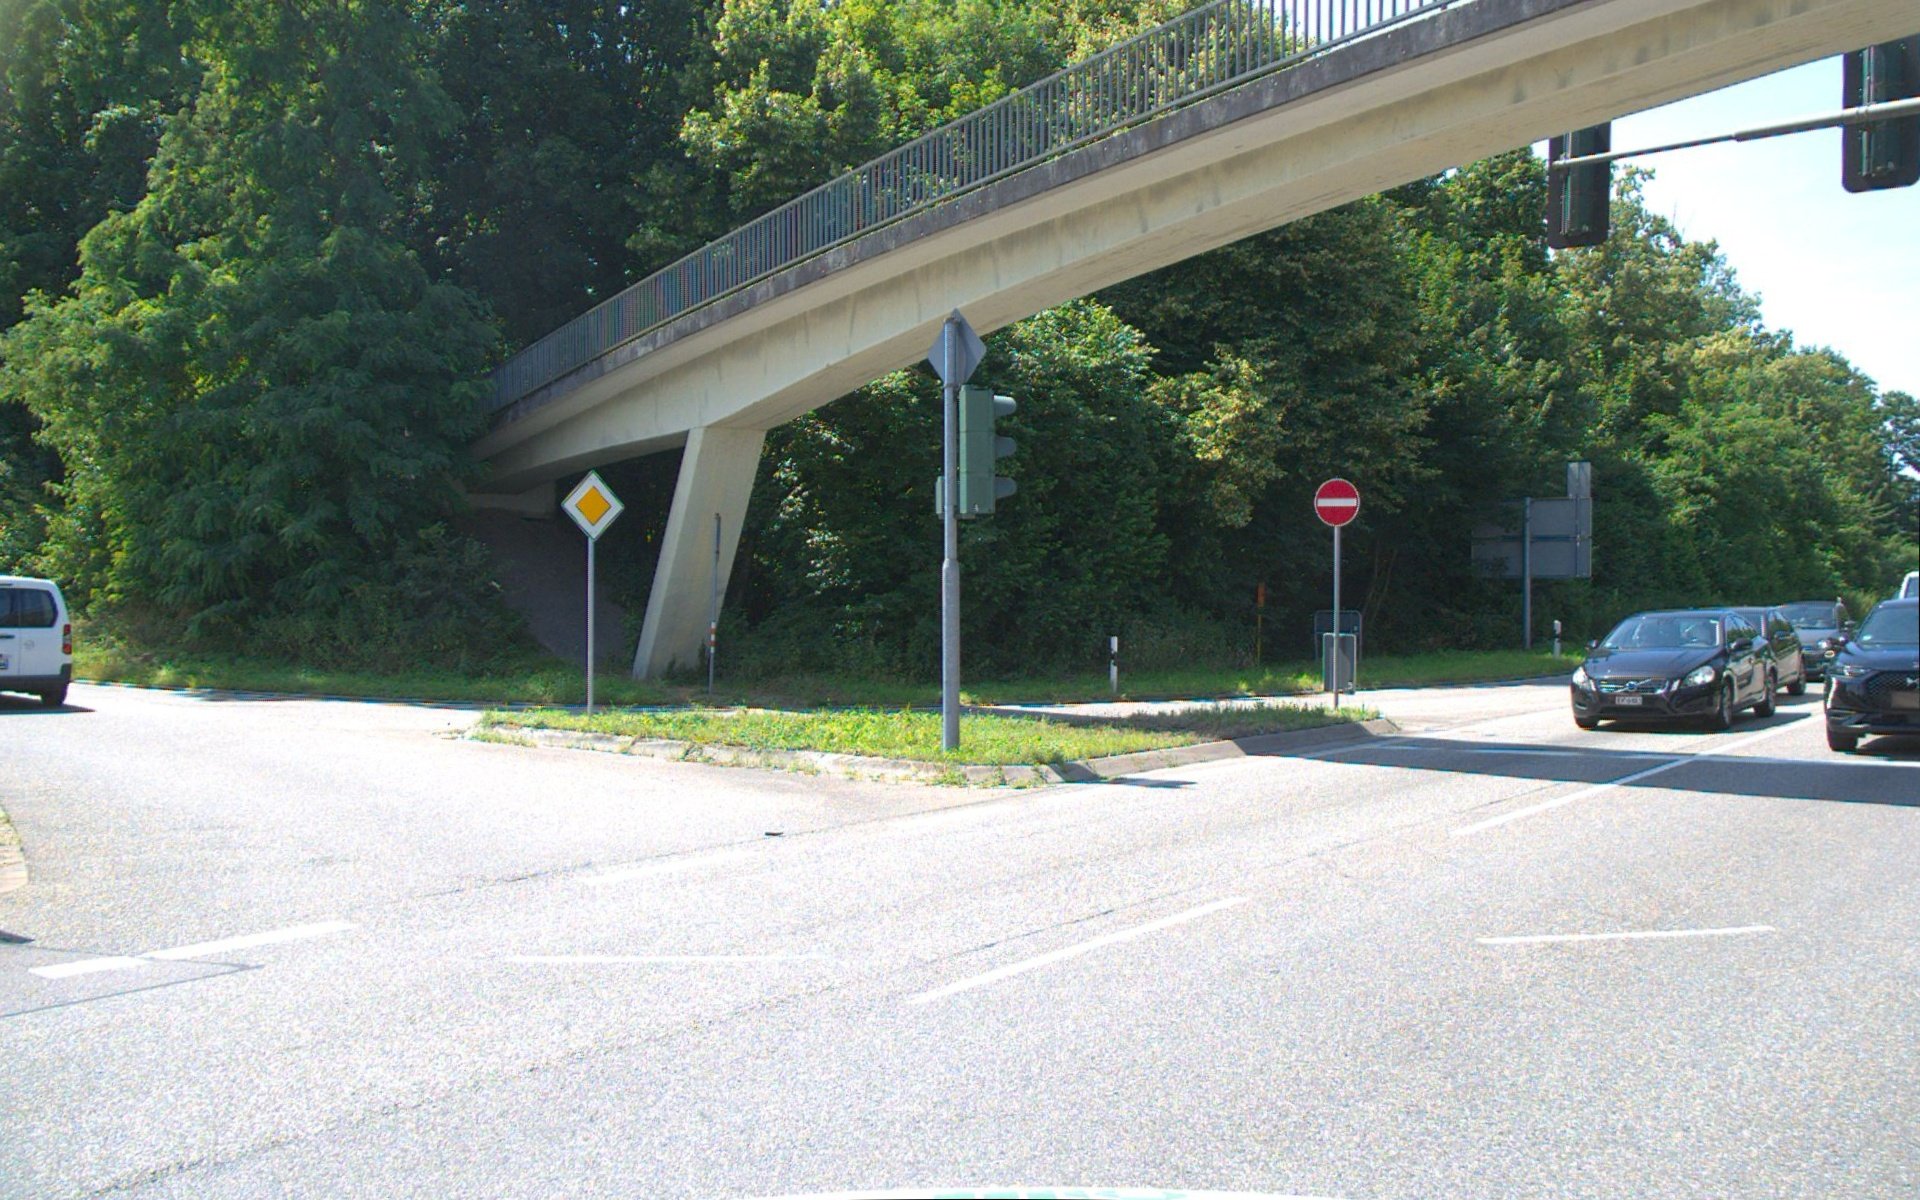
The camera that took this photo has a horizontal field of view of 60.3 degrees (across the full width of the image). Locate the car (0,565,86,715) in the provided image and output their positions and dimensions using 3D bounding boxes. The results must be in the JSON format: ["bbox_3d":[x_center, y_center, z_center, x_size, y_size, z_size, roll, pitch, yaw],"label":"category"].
[{"bbox_3d":[-14.183,0.519,23.694,3.915,1.857,1.842,4,5,45],"label":"car"}]

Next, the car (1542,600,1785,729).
[{"bbox_3d":[9.135,0.764,21.311,1.975,1.486,4.038,-1,-1,37],"label":"car"}]

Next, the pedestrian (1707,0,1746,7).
[{"bbox_3d":[6.009,-5.877,12.761,0.921,2.177,0.774,2,-2,-37],"label":"pedestrian"}]

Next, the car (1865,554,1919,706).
[{"bbox_3d":[14.820,0.388,24.028,2.172,2.028,5.465,-1,-1,37],"label":"car"}]

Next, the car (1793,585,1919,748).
[{"bbox_3d":[10.290,0.637,17.480,1.961,1.550,4.011,-2,-1,37],"label":"car"}]

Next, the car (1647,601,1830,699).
[{"bbox_3d":[12.997,0.776,27.503,1.975,1.486,4.038,-1,-1,37],"label":"car"}]

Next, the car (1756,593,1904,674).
[{"bbox_3d":[17.103,0.605,32.416,1.975,1.486,4.038,0,0,37],"label":"car"}]
